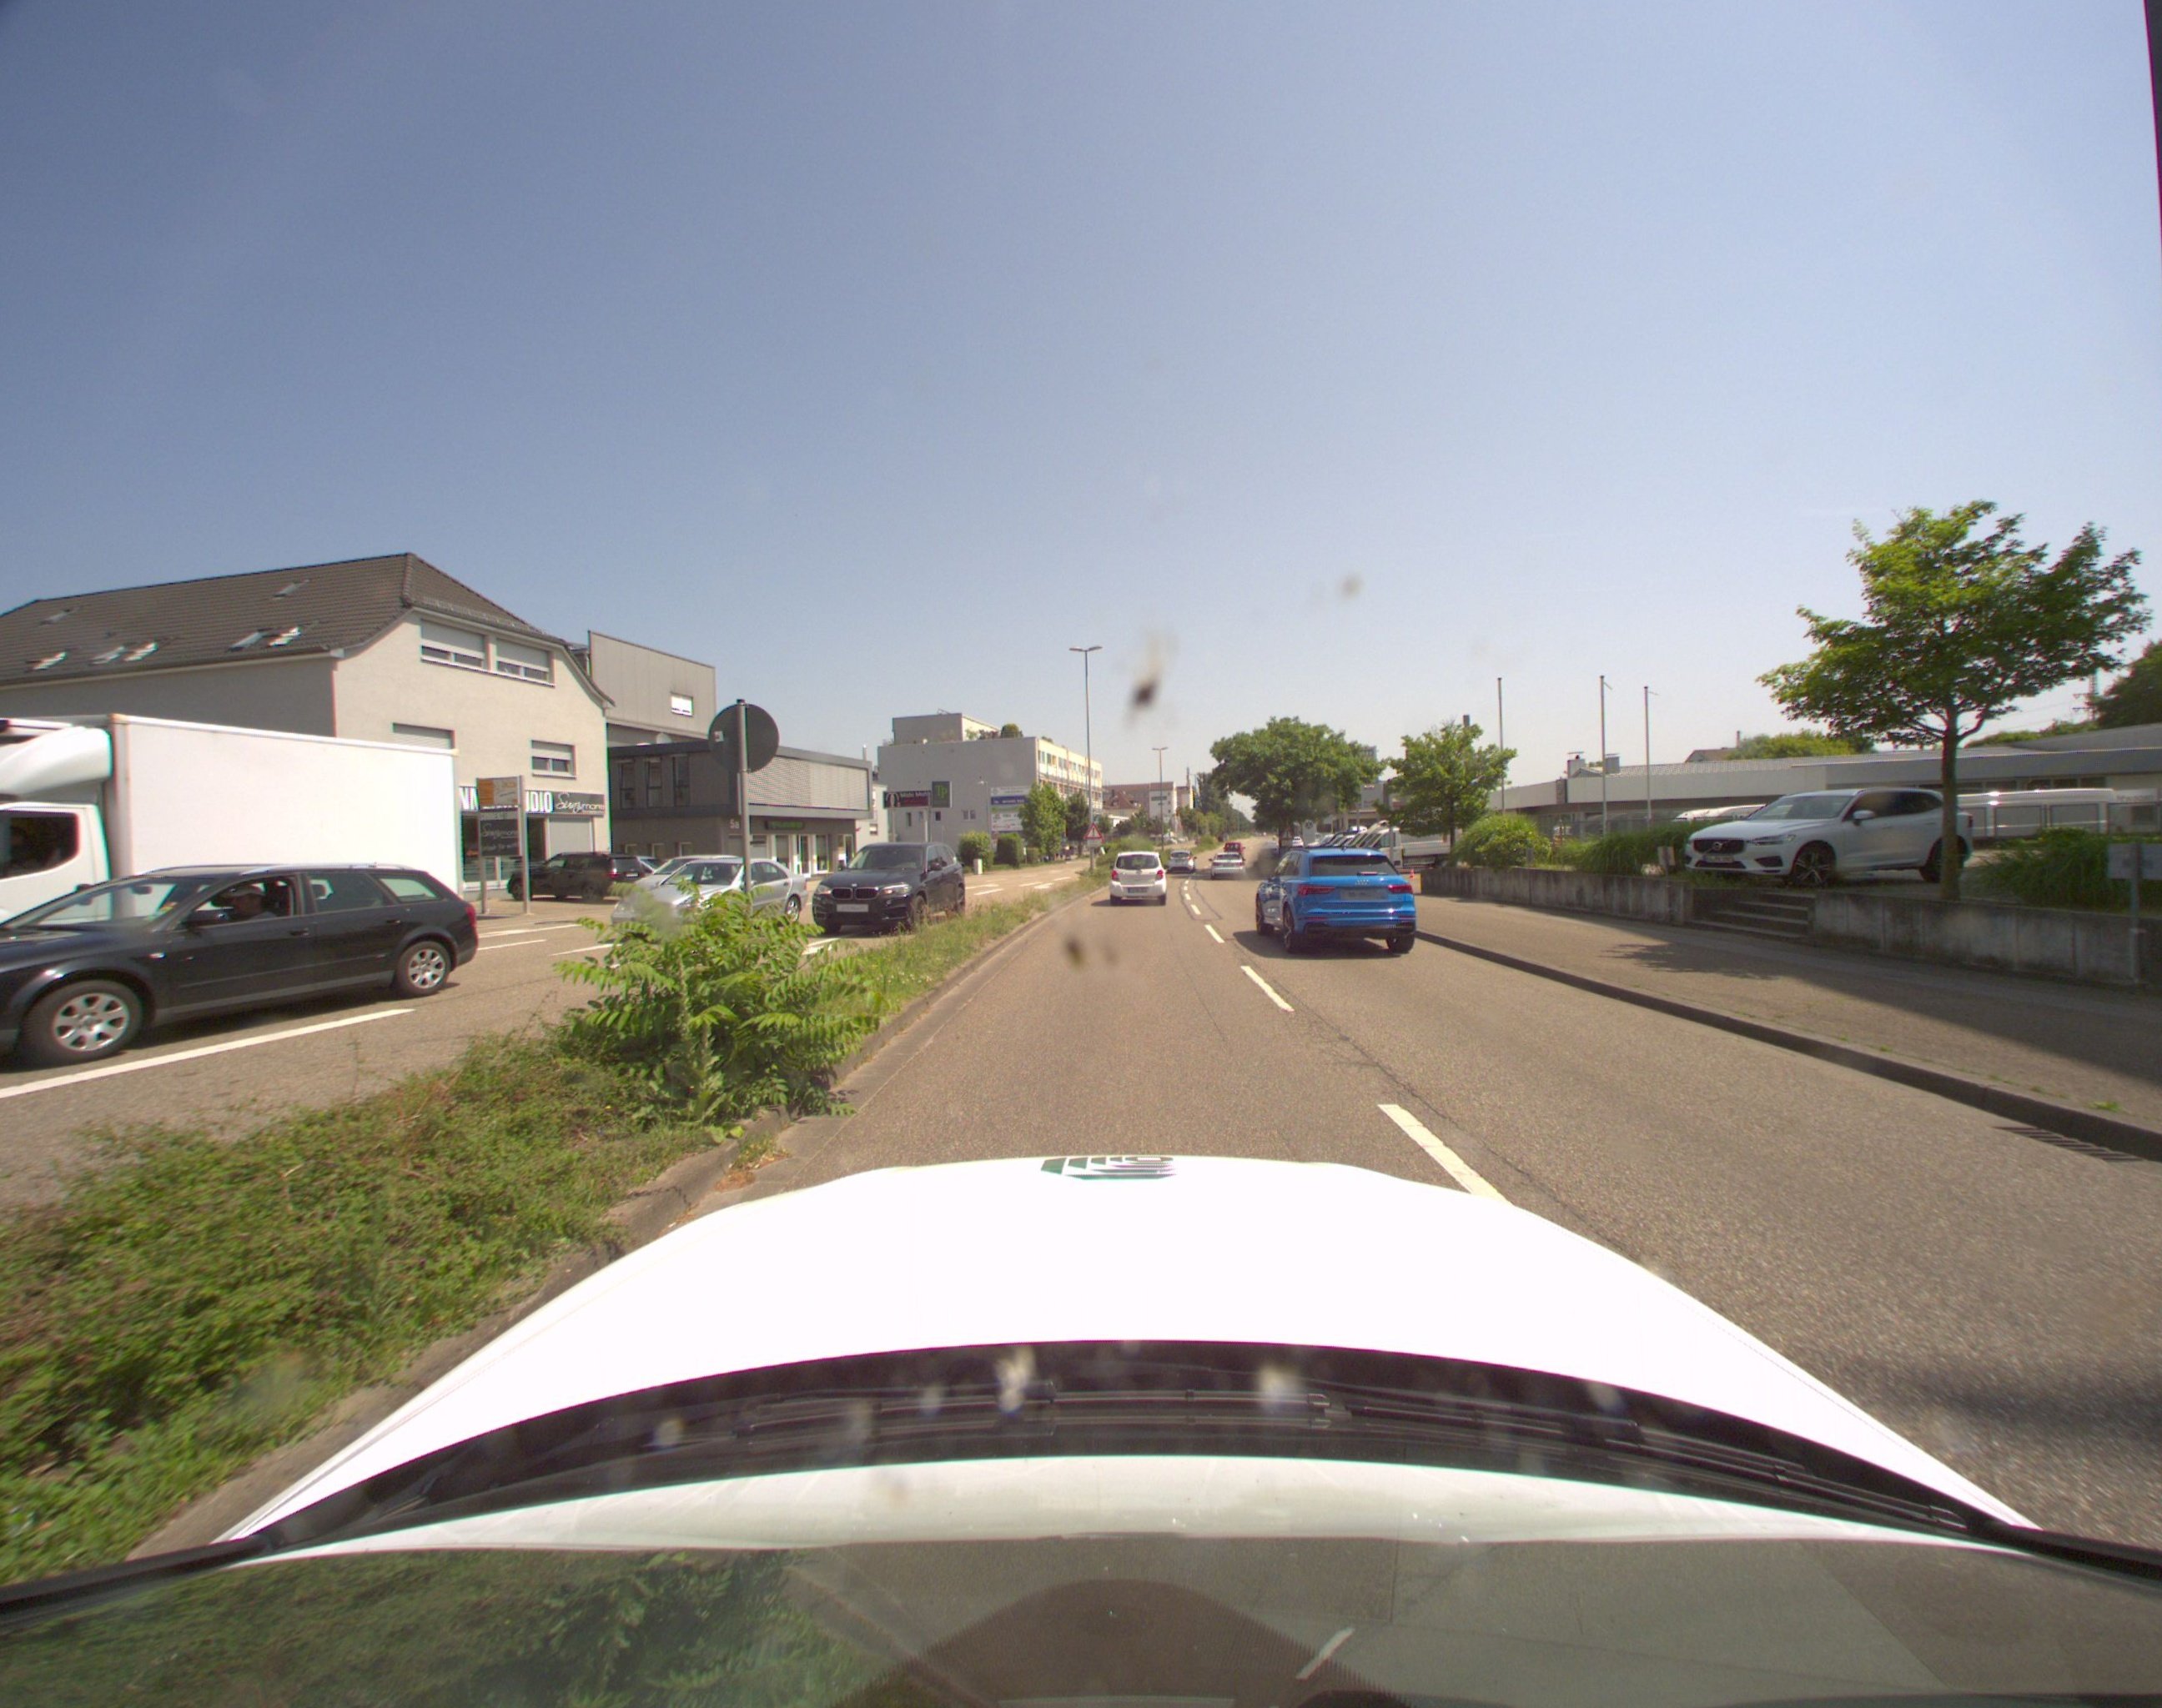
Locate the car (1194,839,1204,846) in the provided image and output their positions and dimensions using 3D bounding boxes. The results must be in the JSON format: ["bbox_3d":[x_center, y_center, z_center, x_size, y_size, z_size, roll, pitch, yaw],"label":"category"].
[{"bbox_3d":[25.279,-2.526,174.288,1.619,1.424,3.464,-5,0,15],"label":"car"}]

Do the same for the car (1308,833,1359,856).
[{"bbox_3d":[25.097,-0.940,81.099,4.610,2.013,1.966,-3,1,10],"label":"car"}]

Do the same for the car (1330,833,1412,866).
[{"bbox_3d":[19.250,-0.304,54.349,4.879,1.971,2.149,-3,0,12],"label":"car"}]

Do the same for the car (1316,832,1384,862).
[{"bbox_3d":[21.527,-0.563,65.312,4.867,2.114,2.136,-3,1,11],"label":"car"}]

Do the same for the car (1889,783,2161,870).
[{"bbox_3d":[32.239,-0.867,28.063,6.072,2.810,2.007,0,-1,14],"label":"car"}]

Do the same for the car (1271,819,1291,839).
[{"bbox_3d":[32.756,-4.058,133.513,2.121,2.839,7.328,-7,0,9],"label":"car"}]

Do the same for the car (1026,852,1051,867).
[{"bbox_3d":[-4.688,0.622,89.976,1.648,1.467,3.811,-4,1,12],"label":"car"}]

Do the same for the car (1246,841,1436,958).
[{"bbox_3d":[4.071,0.618,13.563,1.905,1.597,4.398,-1,0,3],"label":"car"}]

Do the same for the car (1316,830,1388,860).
[{"bbox_3d":[23.257,-0.770,70.197,5.800,2.524,2.213,0,-1,15],"label":"car"}]

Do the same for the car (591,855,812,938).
[{"bbox_3d":[-6.975,0.714,15.552,1.888,1.361,4.205,-1,0,6],"label":"car"}]

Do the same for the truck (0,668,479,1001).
[{"bbox_3d":[-11.928,-0.204,10.598,2.252,3.417,7.054,0,0,8],"label":"truck"}]

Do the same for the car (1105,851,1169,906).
[{"bbox_3d":[1.613,0.699,24.273,1.706,1.511,3.247,0,-1,0],"label":"car"}]

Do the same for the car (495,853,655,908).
[{"bbox_3d":[-17.220,0.851,27.781,4.575,1.627,1.860,2,1,12],"label":"car"}]

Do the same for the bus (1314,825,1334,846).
[{"bbox_3d":[37.932,-2.951,127.071,2.783,3.078,12.340,-1,2,16],"label":"bus"}]

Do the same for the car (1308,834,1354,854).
[{"bbox_3d":[24.826,-1.001,80.909,4.123,1.781,1.887,-3,-1,11],"label":"car"}]

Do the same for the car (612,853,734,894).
[{"bbox_3d":[-16.856,0.776,33.743,4.032,1.521,2.005,-2,0,9],"label":"car"}]

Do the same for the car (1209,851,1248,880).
[{"bbox_3d":[7.579,0.576,42.093,1.659,1.399,3.799,-1,0,6],"label":"car"}]

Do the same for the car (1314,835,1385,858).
[{"bbox_3d":[23.962,-0.663,72.918,5.851,2.013,2.268,0,0,14],"label":"car"}]

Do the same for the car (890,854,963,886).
[{"bbox_3d":[-7.119,0.699,37.945,1.793,1.354,4.369,-1,0,12],"label":"car"}]

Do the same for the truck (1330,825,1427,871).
[{"bbox_3d":[17.812,-0.350,49.004,5.209,2.435,2.119,-3,0,14],"label":"truck"}]

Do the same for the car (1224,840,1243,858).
[{"bbox_3d":[14.553,-0.461,77.616,1.783,1.729,3.985,0,0,11],"label":"car"}]

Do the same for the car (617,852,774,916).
[{"bbox_3d":[-10.235,0.746,22.033,1.887,1.566,4.205,-1,0,6],"label":"car"}]

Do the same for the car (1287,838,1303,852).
[{"bbox_3d":[26.826,-1.192,102.273,1.656,1.596,4.629,-2,1,13],"label":"car"}]

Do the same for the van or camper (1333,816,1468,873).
[{"bbox_3d":[17.938,-0.535,46.061,6.751,2.897,2.283,-2,1,12],"label":"van or camper"}]

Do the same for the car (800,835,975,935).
[{"bbox_3d":[-3.737,0.570,16.728,1.898,1.751,4.769,0,-1,7],"label":"car"}]

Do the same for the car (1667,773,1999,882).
[{"bbox_3d":[13.143,-0.410,14.339,4.730,1.713,1.991,0,-1,-13],"label":"car"}]

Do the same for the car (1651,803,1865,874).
[{"bbox_3d":[25.244,-0.523,30.640,5.842,2.528,2.128,0,-1,15],"label":"car"}]

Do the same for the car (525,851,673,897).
[{"bbox_3d":[-18.185,0.726,30.856,4.585,1.496,1.755,2,1,4],"label":"car"}]

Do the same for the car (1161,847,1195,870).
[{"bbox_3d":[6.183,0.268,52.313,1.823,1.450,4.001,0,0,1],"label":"car"}]

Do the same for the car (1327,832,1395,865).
[{"bbox_3d":[20.519,-0.399,59.869,4.478,2.013,2.206,-4,-1,13],"label":"car"}]

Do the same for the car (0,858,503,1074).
[{"bbox_3d":[-7.994,0.773,7.425,1.792,1.439,4.586,0,0,7],"label":"car"}]

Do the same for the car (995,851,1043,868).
[{"bbox_3d":[-5.950,0.507,78.392,4.195,1.349,1.987,-3,1,12],"label":"car"}]

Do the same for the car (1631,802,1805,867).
[{"bbox_3d":[25.879,-0.727,33.317,5.244,2.536,2.045,0,-1,14],"label":"car"}]

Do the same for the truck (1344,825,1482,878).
[{"bbox_3d":[16.810,-0.144,41.640,6.201,2.336,2.378,-3,1,14],"label":"truck"}]

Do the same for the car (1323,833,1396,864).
[{"bbox_3d":[21.436,-0.437,62.821,5.030,2.097,2.047,-4,0,12],"label":"car"}]

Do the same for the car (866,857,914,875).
[{"bbox_3d":[-18.105,1.139,77.409,3.950,1.467,1.968,-2,1,7],"label":"car"}]

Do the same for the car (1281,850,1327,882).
[{"bbox_3d":[10.457,0.503,38.397,1.786,1.406,4.334,0,0,11],"label":"car"}]

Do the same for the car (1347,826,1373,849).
[{"bbox_3d":[34.500,-2.030,100.801,2.240,2.675,7.043,-2,1,13],"label":"car"}]
